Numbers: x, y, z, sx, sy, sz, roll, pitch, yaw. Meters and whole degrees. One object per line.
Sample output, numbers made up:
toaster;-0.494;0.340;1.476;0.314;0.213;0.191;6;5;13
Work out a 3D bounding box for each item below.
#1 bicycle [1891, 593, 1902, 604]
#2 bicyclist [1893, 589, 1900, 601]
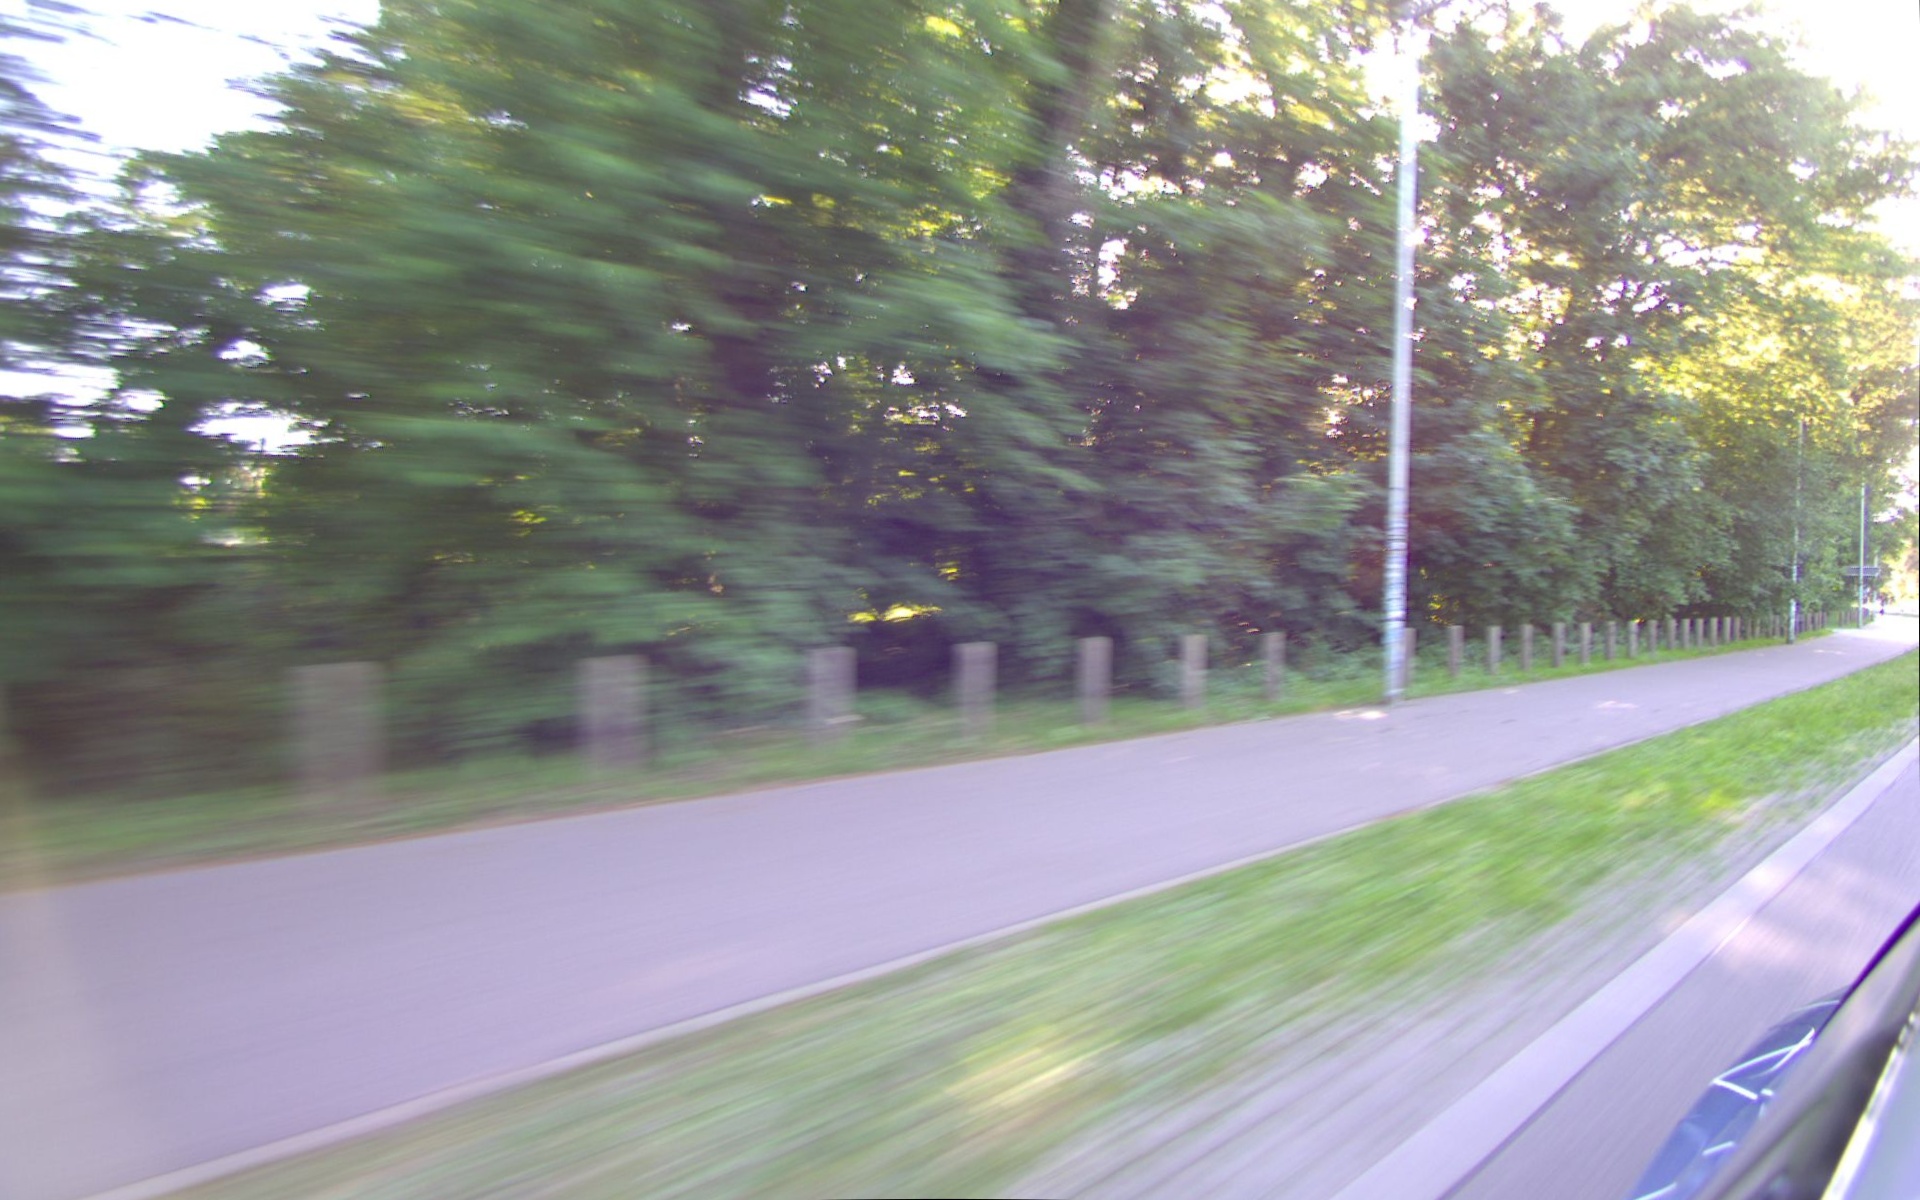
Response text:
bicycle;99.171;-0.159;107.194;0.605;1.070;2.836;1;1;37
bicyclist;99.164;-0.498;107.142;0.512;1.283;0.491;1;1;38
